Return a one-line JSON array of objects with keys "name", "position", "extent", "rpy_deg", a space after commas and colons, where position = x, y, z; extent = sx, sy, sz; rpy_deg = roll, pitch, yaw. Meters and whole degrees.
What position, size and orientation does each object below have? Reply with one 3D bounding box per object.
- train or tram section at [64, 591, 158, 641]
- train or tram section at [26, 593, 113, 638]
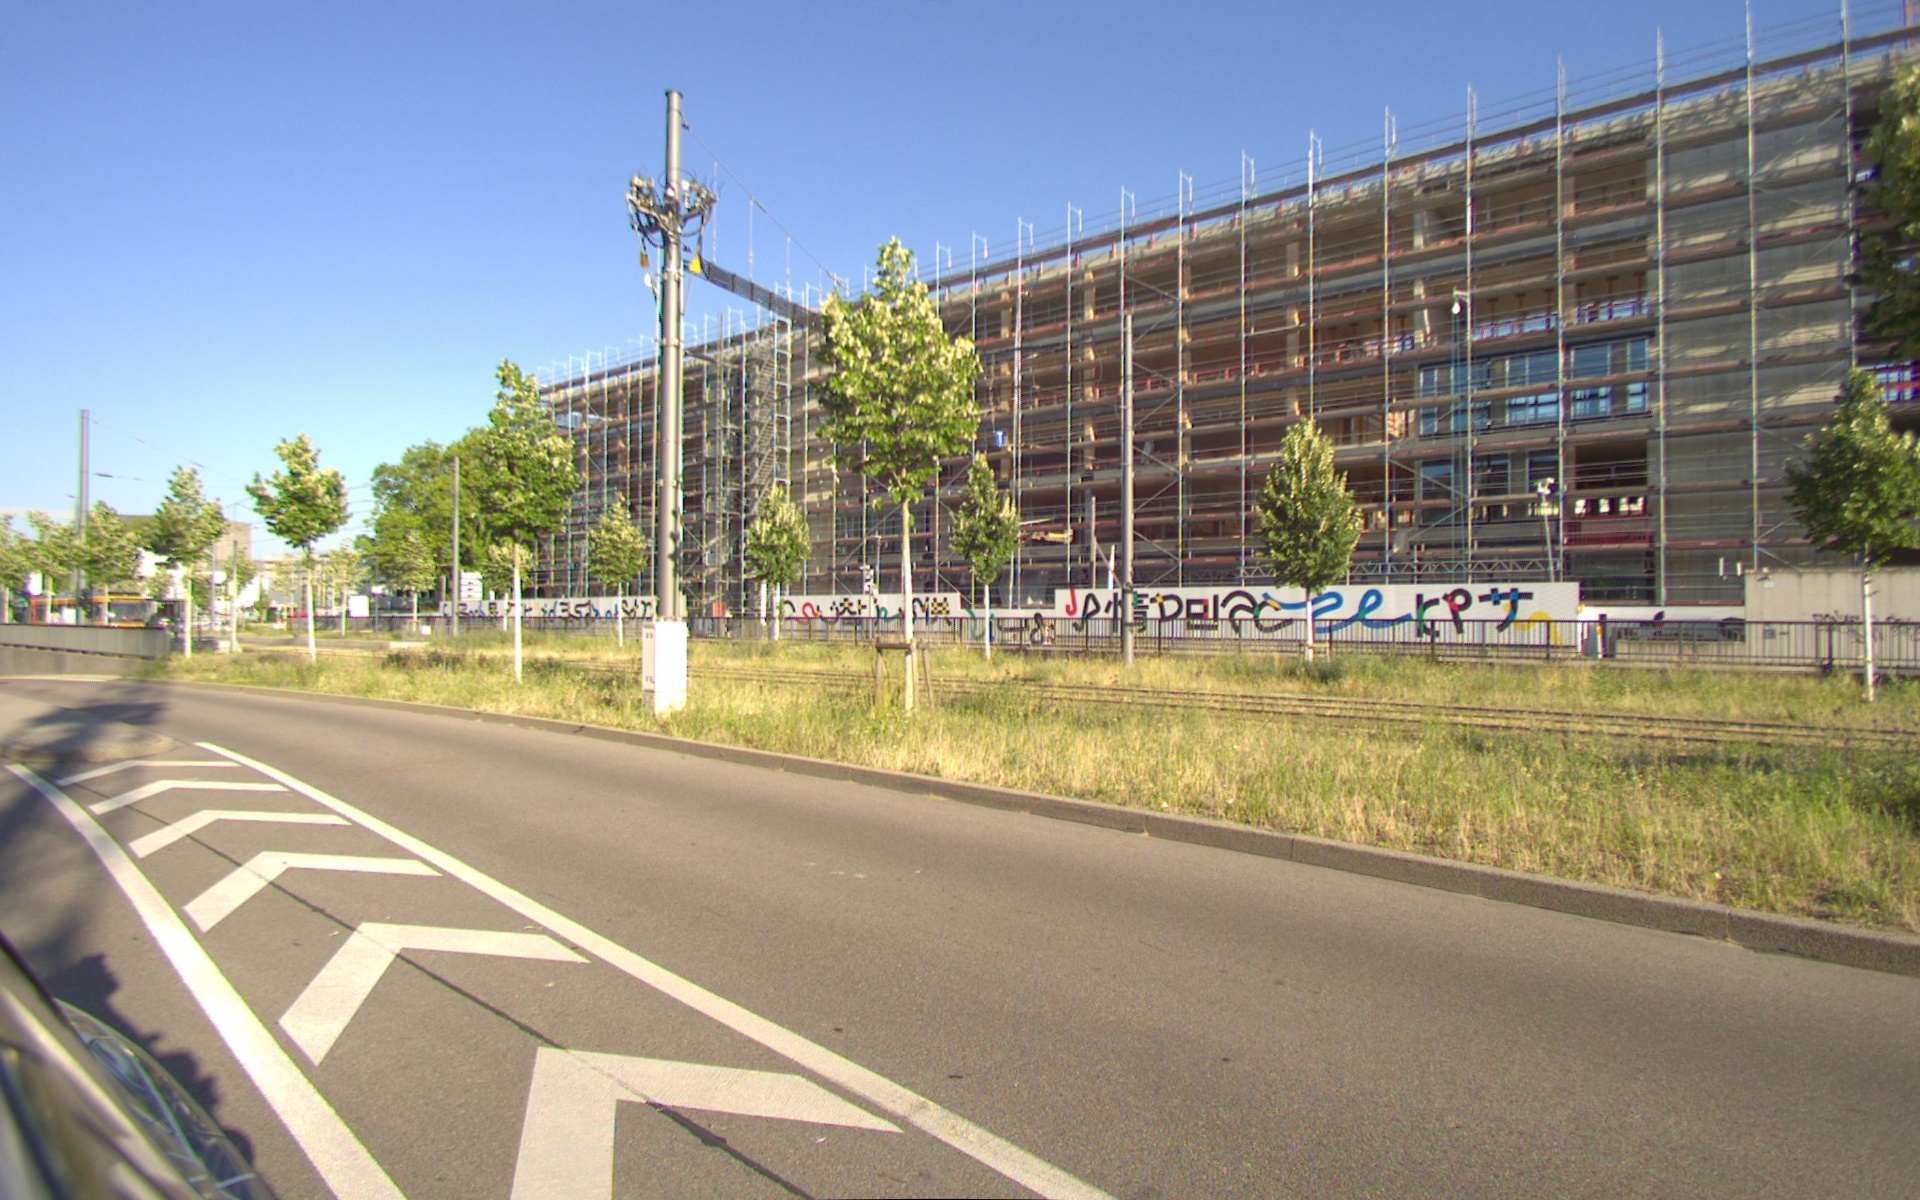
[{"name": "train or tram section", "position": [-62.468, 1.126, 74.342], "extent": [12.619, 3.423, 2.917], "rpy_deg": [-1, 0, 39]}, {"name": "train or tram section", "position": [-73.135, 1.269, 82.981], "extent": [14.749, 3.423, 2.917], "rpy_deg": [-1, 0, 39]}]
